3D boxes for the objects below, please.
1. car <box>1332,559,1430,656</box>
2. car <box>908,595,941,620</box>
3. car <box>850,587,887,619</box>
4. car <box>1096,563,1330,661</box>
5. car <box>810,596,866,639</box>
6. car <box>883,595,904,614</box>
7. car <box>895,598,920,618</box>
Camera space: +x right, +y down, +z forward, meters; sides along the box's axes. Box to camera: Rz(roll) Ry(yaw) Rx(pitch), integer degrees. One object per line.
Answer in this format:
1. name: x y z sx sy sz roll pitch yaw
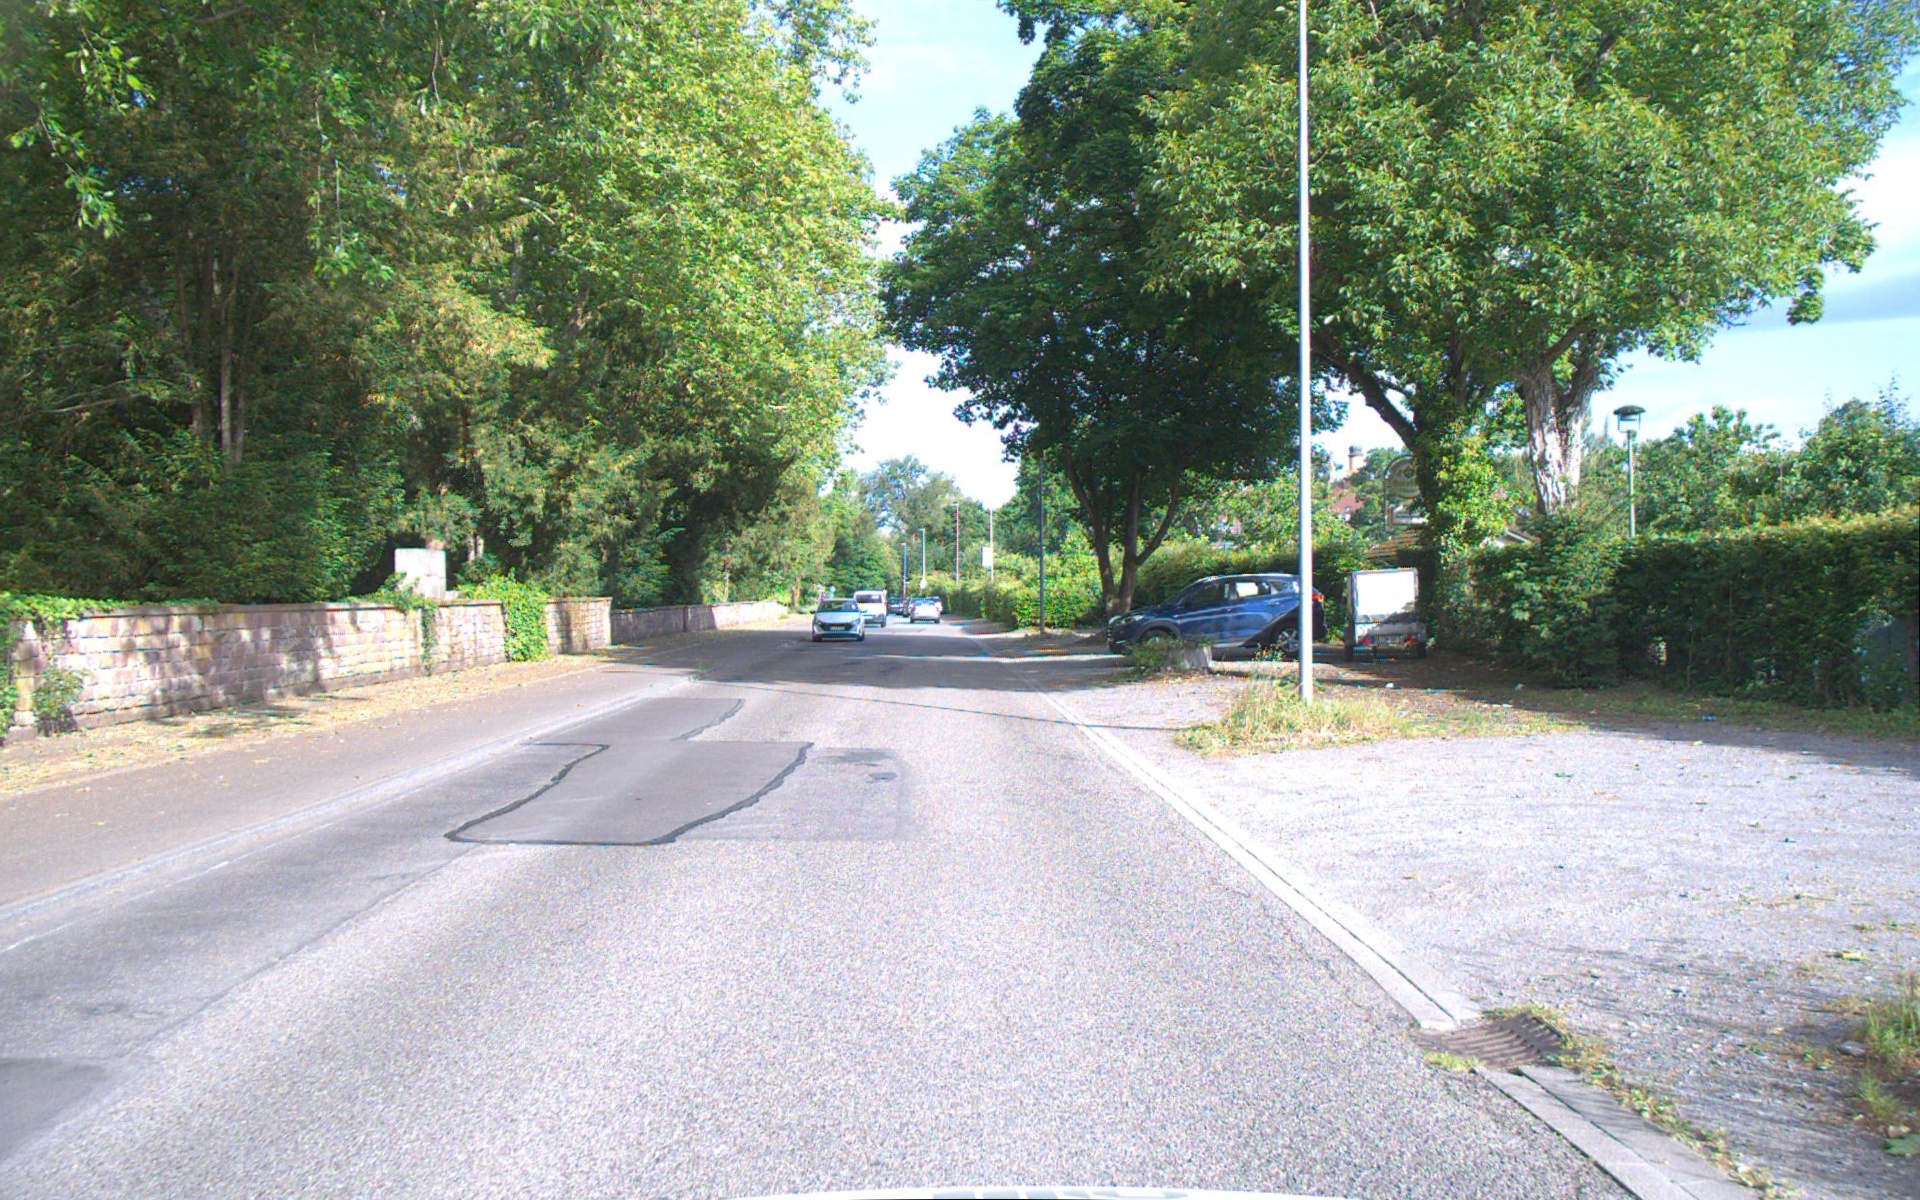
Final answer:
1. car: 7.971 0.104 31.537 1.322 1.661 4.115 -3 1 9
2. car: -2.096 0.437 96.583 1.849 1.396 4.052 -1 0 -3
3. car: -4.702 0.150 85.494 1.849 1.591 4.052 -1 0 -3
4. car: 5.029 0.230 33.338 4.314 1.675 2.000 -3 0 -1
5. car: -4.173 0.564 56.794 1.849 1.396 4.051 -1 0 -4
6. car: -5.941 0.396 147.462 1.849 1.641 4.052 -1 0 -3
7. car: -3.946 0.596 123.834 1.849 1.490 4.052 -1 0 -3
